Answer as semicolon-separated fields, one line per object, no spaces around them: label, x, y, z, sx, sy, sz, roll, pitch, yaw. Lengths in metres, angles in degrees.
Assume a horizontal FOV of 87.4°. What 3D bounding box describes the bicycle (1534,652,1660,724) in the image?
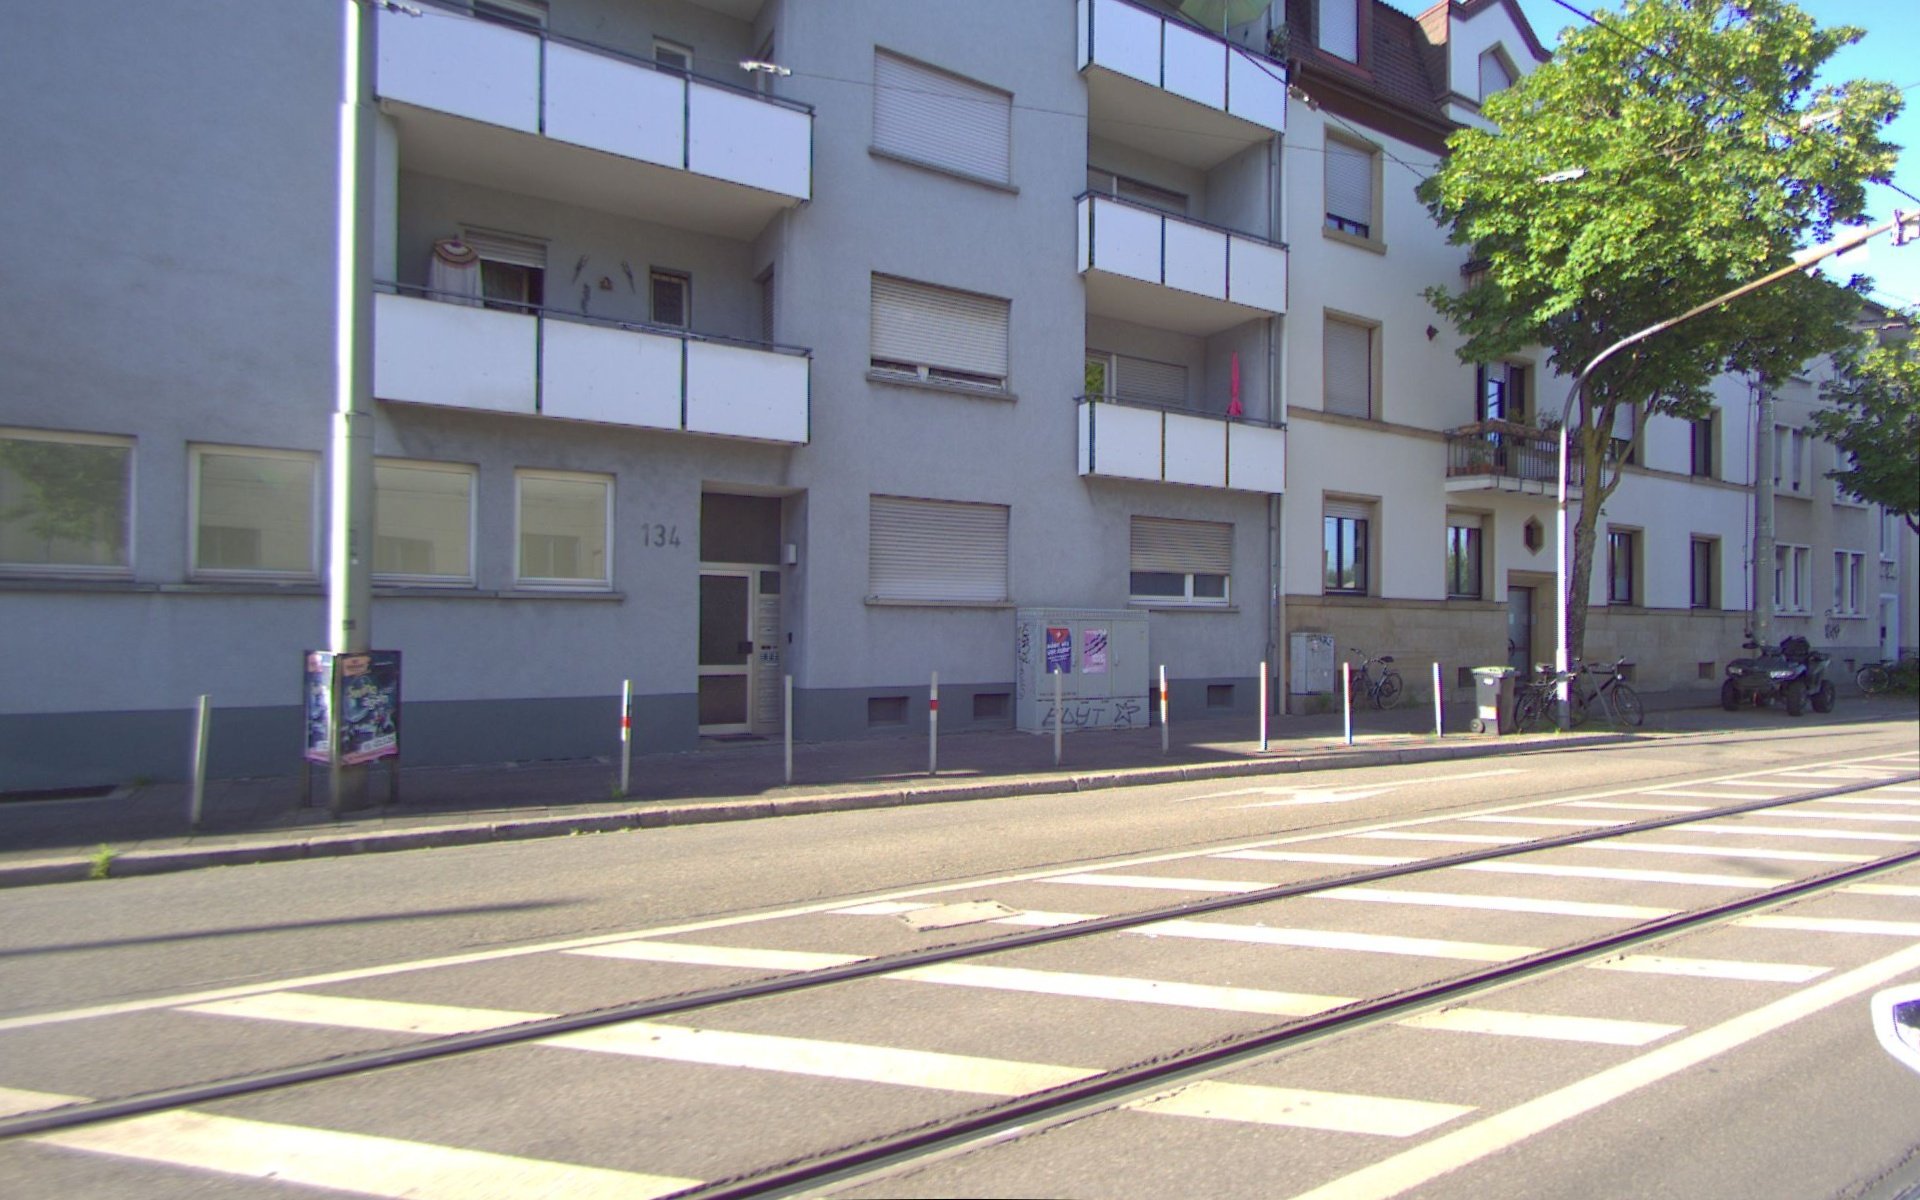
bicycle;10.412;1.414;16.458;1.685;1.047;0.442;1;-1;40

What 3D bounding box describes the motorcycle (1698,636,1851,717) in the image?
motorcycle;16.340;1.468;20.129;3.067;1.501;1.450;1;-2;-32

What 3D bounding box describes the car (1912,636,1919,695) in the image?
car;26.282;1.665;25.759;3.956;1.505;1.788;1;-2;-33

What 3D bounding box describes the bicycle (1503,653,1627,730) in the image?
bicycle;9.202;1.371;15.327;1.583;1.058;0.458;1;-1;29

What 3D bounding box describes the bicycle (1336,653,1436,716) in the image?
bicycle;7.357;1.433;17.295;1.996;1.020;0.504;1;-2;-31

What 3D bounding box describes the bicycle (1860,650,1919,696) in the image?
bicycle;22.740;1.760;24.049;1.724;1.037;0.606;1;-1;40
